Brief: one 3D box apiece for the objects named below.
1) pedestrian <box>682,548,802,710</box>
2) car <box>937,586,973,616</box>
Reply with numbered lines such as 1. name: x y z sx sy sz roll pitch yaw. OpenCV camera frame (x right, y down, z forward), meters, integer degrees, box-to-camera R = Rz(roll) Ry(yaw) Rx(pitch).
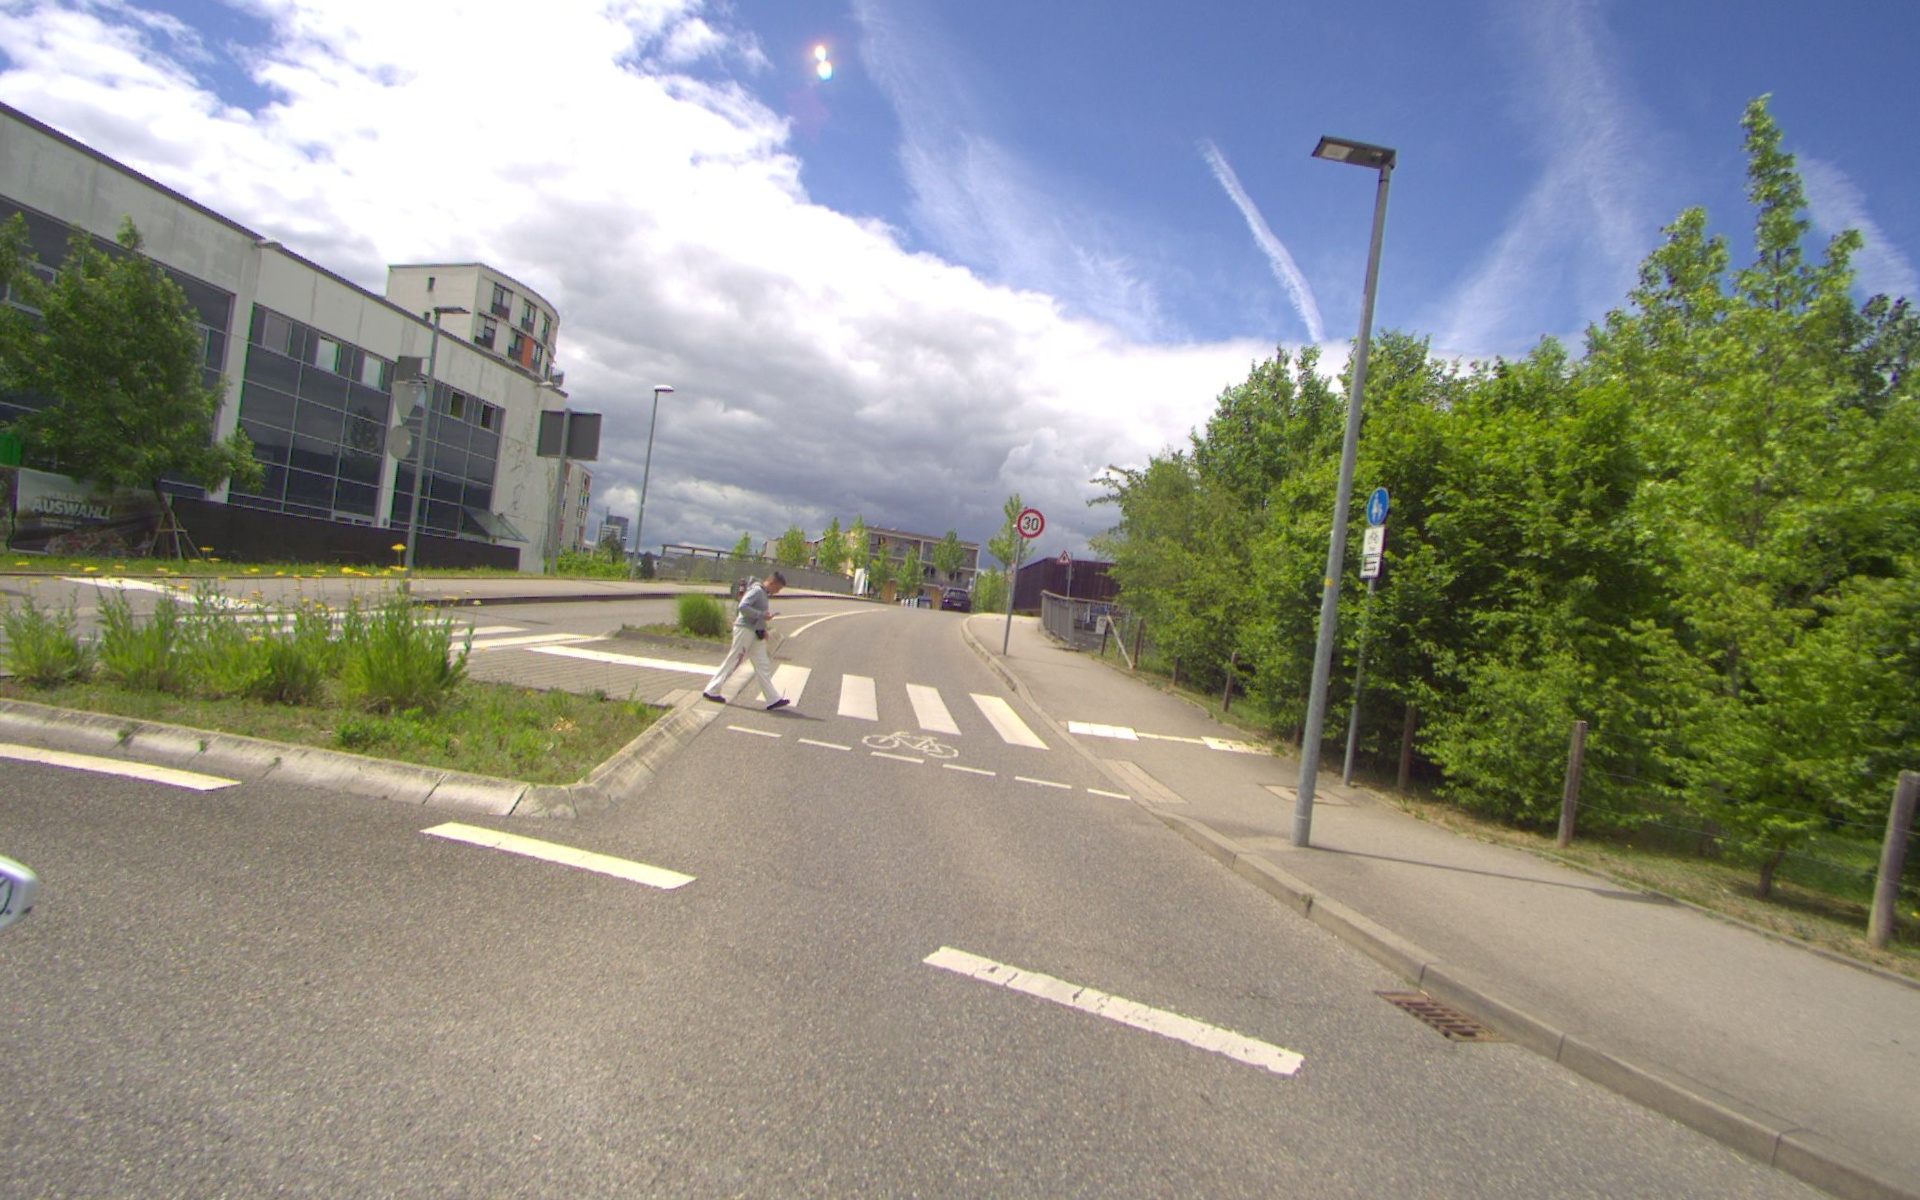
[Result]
1. pedestrian: -2.340 0.324 10.949 1.020 1.558 0.894 8 -2 -9
2. car: -0.286 0.094 65.681 1.877 1.468 4.006 8 -3 5
